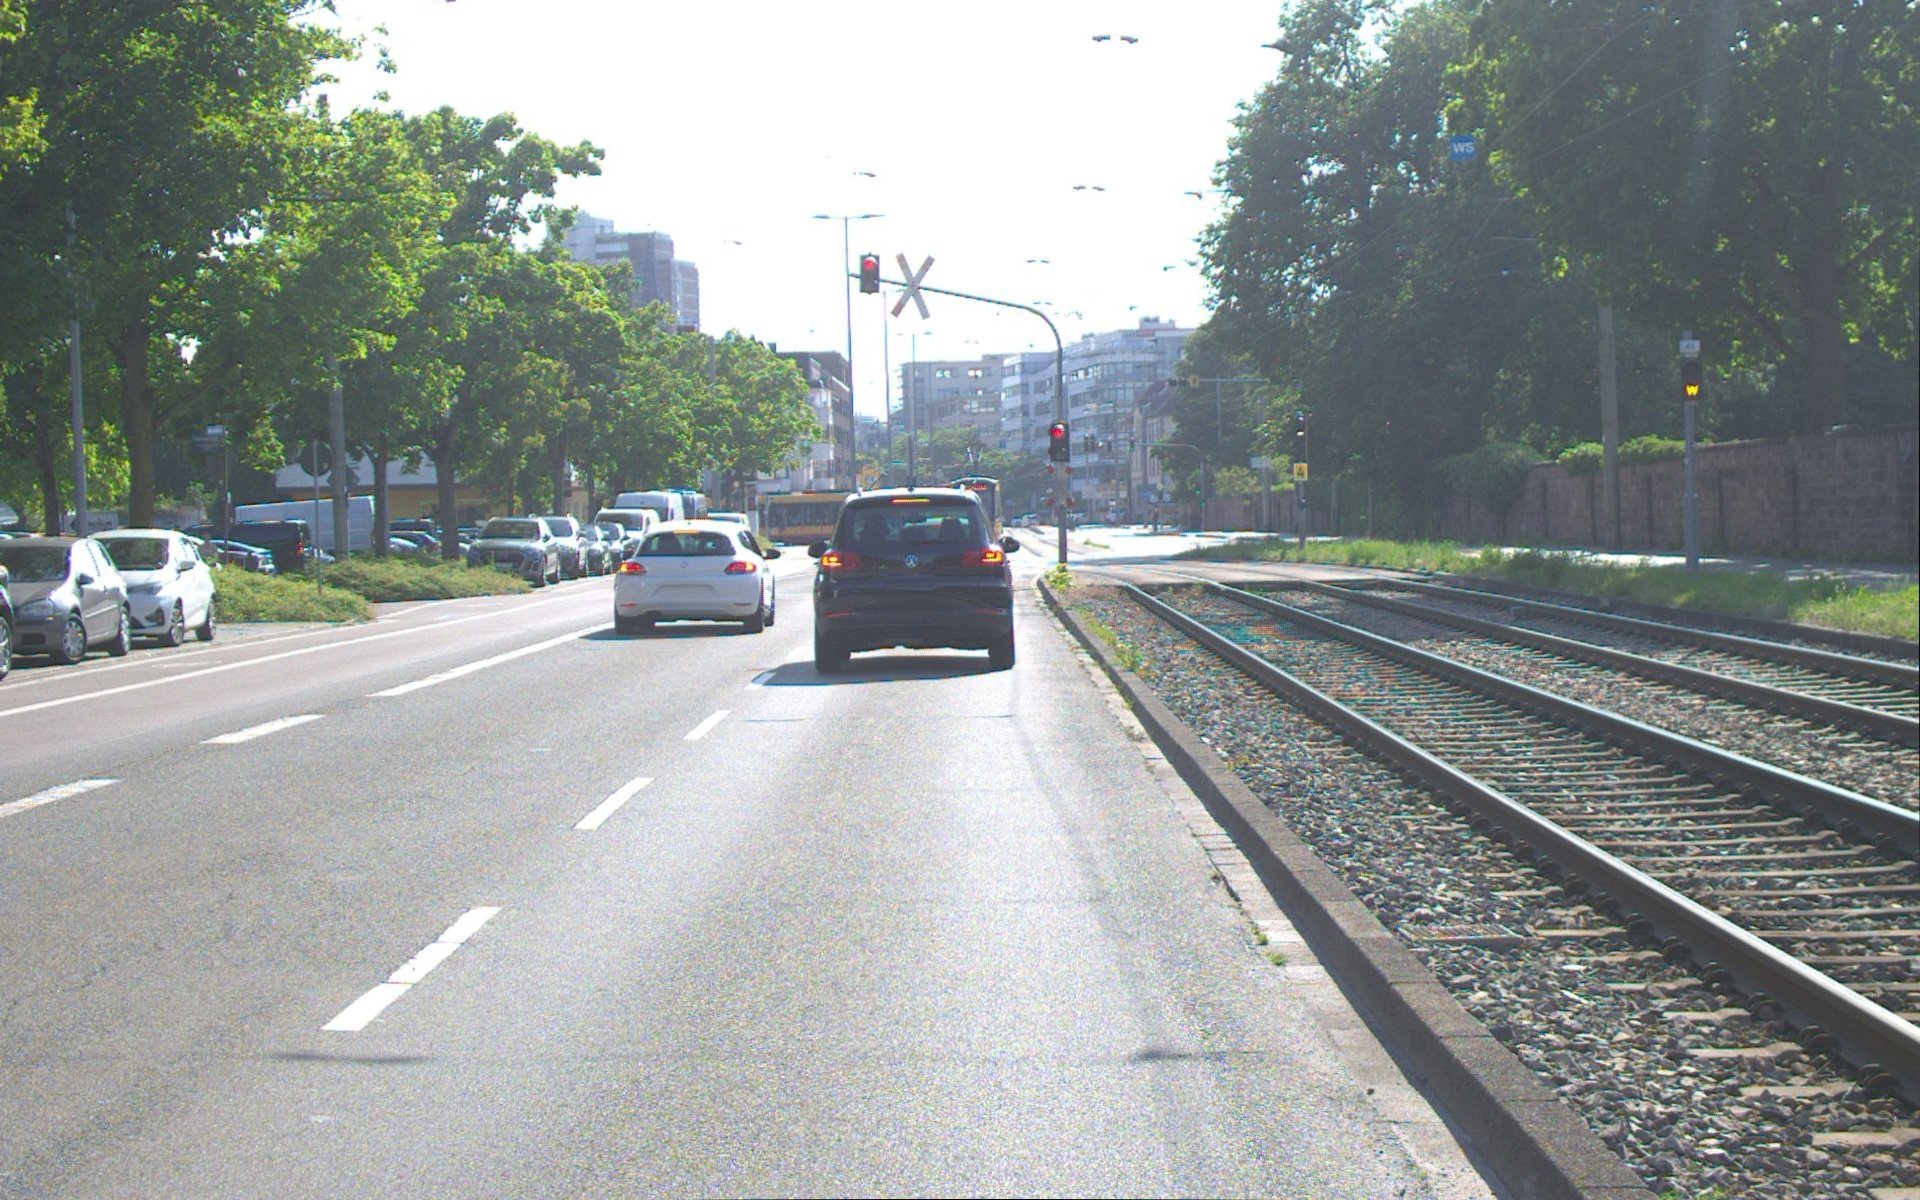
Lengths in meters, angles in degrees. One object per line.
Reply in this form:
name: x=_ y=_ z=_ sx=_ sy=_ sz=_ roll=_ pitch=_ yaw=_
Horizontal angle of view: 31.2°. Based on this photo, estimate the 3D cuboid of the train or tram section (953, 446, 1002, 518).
train or tram section: x=0.929 y=-6.079 z=177.575 sx=2.326 sy=3.557 sz=8.900 roll=-2 pitch=2 yaw=1

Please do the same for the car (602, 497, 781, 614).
car: x=-3.312 y=-0.589 z=43.086 sx=1.865 sy=1.343 sz=4.000 roll=-1 pitch=2 yaw=1

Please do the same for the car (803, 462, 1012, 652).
car: x=-0.431 y=-0.426 z=32.136 sx=1.811 sy=1.639 sz=4.000 roll=-1 pitch=1 yaw=1

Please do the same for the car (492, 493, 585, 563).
car: x=-10.952 y=-1.886 z=89.576 sx=1.732 sy=1.688 sz=4.000 roll=-2 pitch=2 yaw=2

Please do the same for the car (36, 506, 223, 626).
car: x=-11.190 y=-0.493 z=46.537 sx=1.600 sy=1.545 sz=3.895 roll=0 pitch=2 yaw=0

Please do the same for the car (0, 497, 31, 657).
car: x=-11.047 y=-0.186 z=35.283 sx=1.712 sy=1.688 sz=4.422 roll=-1 pitch=2 yaw=1

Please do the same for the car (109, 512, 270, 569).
car: x=-20.989 y=-1.637 z=93.753 sx=3.986 sy=1.392 sz=1.738 roll=-2 pitch=2 yaw=-2

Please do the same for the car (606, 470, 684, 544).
car: x=-10.400 y=-3.082 z=113.735 sx=1.863 sy=2.339 sz=4.985 roll=-2 pitch=2 yaw=2

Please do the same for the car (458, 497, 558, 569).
car: x=-10.998 y=-1.658 z=83.911 sx=1.732 sy=1.652 sz=4.000 roll=-2 pitch=2 yaw=2

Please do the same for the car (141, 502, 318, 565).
car: x=-21.039 y=-1.926 z=99.100 sx=4.617 sy=1.646 sz=2.049 roll=-2 pitch=2 yaw=-1

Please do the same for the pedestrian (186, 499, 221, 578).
pedestrian: x=-15.751 y=-1.277 z=71.588 sx=0.524 sy=1.622 sz=0.610 roll=-2 pitch=2 yaw=1

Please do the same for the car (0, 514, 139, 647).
car: x=-11.104 y=-0.259 z=41.082 sx=1.677 sy=1.463 sz=3.969 roll=-2 pitch=2 yaw=-1

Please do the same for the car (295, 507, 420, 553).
car: x=-20.666 y=-2.406 z=118.015 sx=3.986 sy=1.392 sz=1.738 roll=-2 pitch=2 yaw=-2

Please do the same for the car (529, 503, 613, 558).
car: x=-10.826 y=-1.949 z=95.885 sx=1.732 sy=1.384 sz=3.735 roll=-2 pitch=2 yaw=2

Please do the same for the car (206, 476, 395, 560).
car: x=-20.530 y=-2.567 z=107.121 sx=5.375 sy=2.415 sz=2.088 roll=-2 pitch=2 yaw=1

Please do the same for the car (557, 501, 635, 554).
car: x=-10.755 y=-2.156 z=101.767 sx=1.732 sy=1.445 sz=3.735 roll=-2 pitch=2 yaw=2

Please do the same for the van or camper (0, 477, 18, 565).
van or camper: x=-34.294 y=-2.504 z=112.054 sx=6.464 sy=2.858 sz=2.307 roll=-1 pitch=2 yaw=2
